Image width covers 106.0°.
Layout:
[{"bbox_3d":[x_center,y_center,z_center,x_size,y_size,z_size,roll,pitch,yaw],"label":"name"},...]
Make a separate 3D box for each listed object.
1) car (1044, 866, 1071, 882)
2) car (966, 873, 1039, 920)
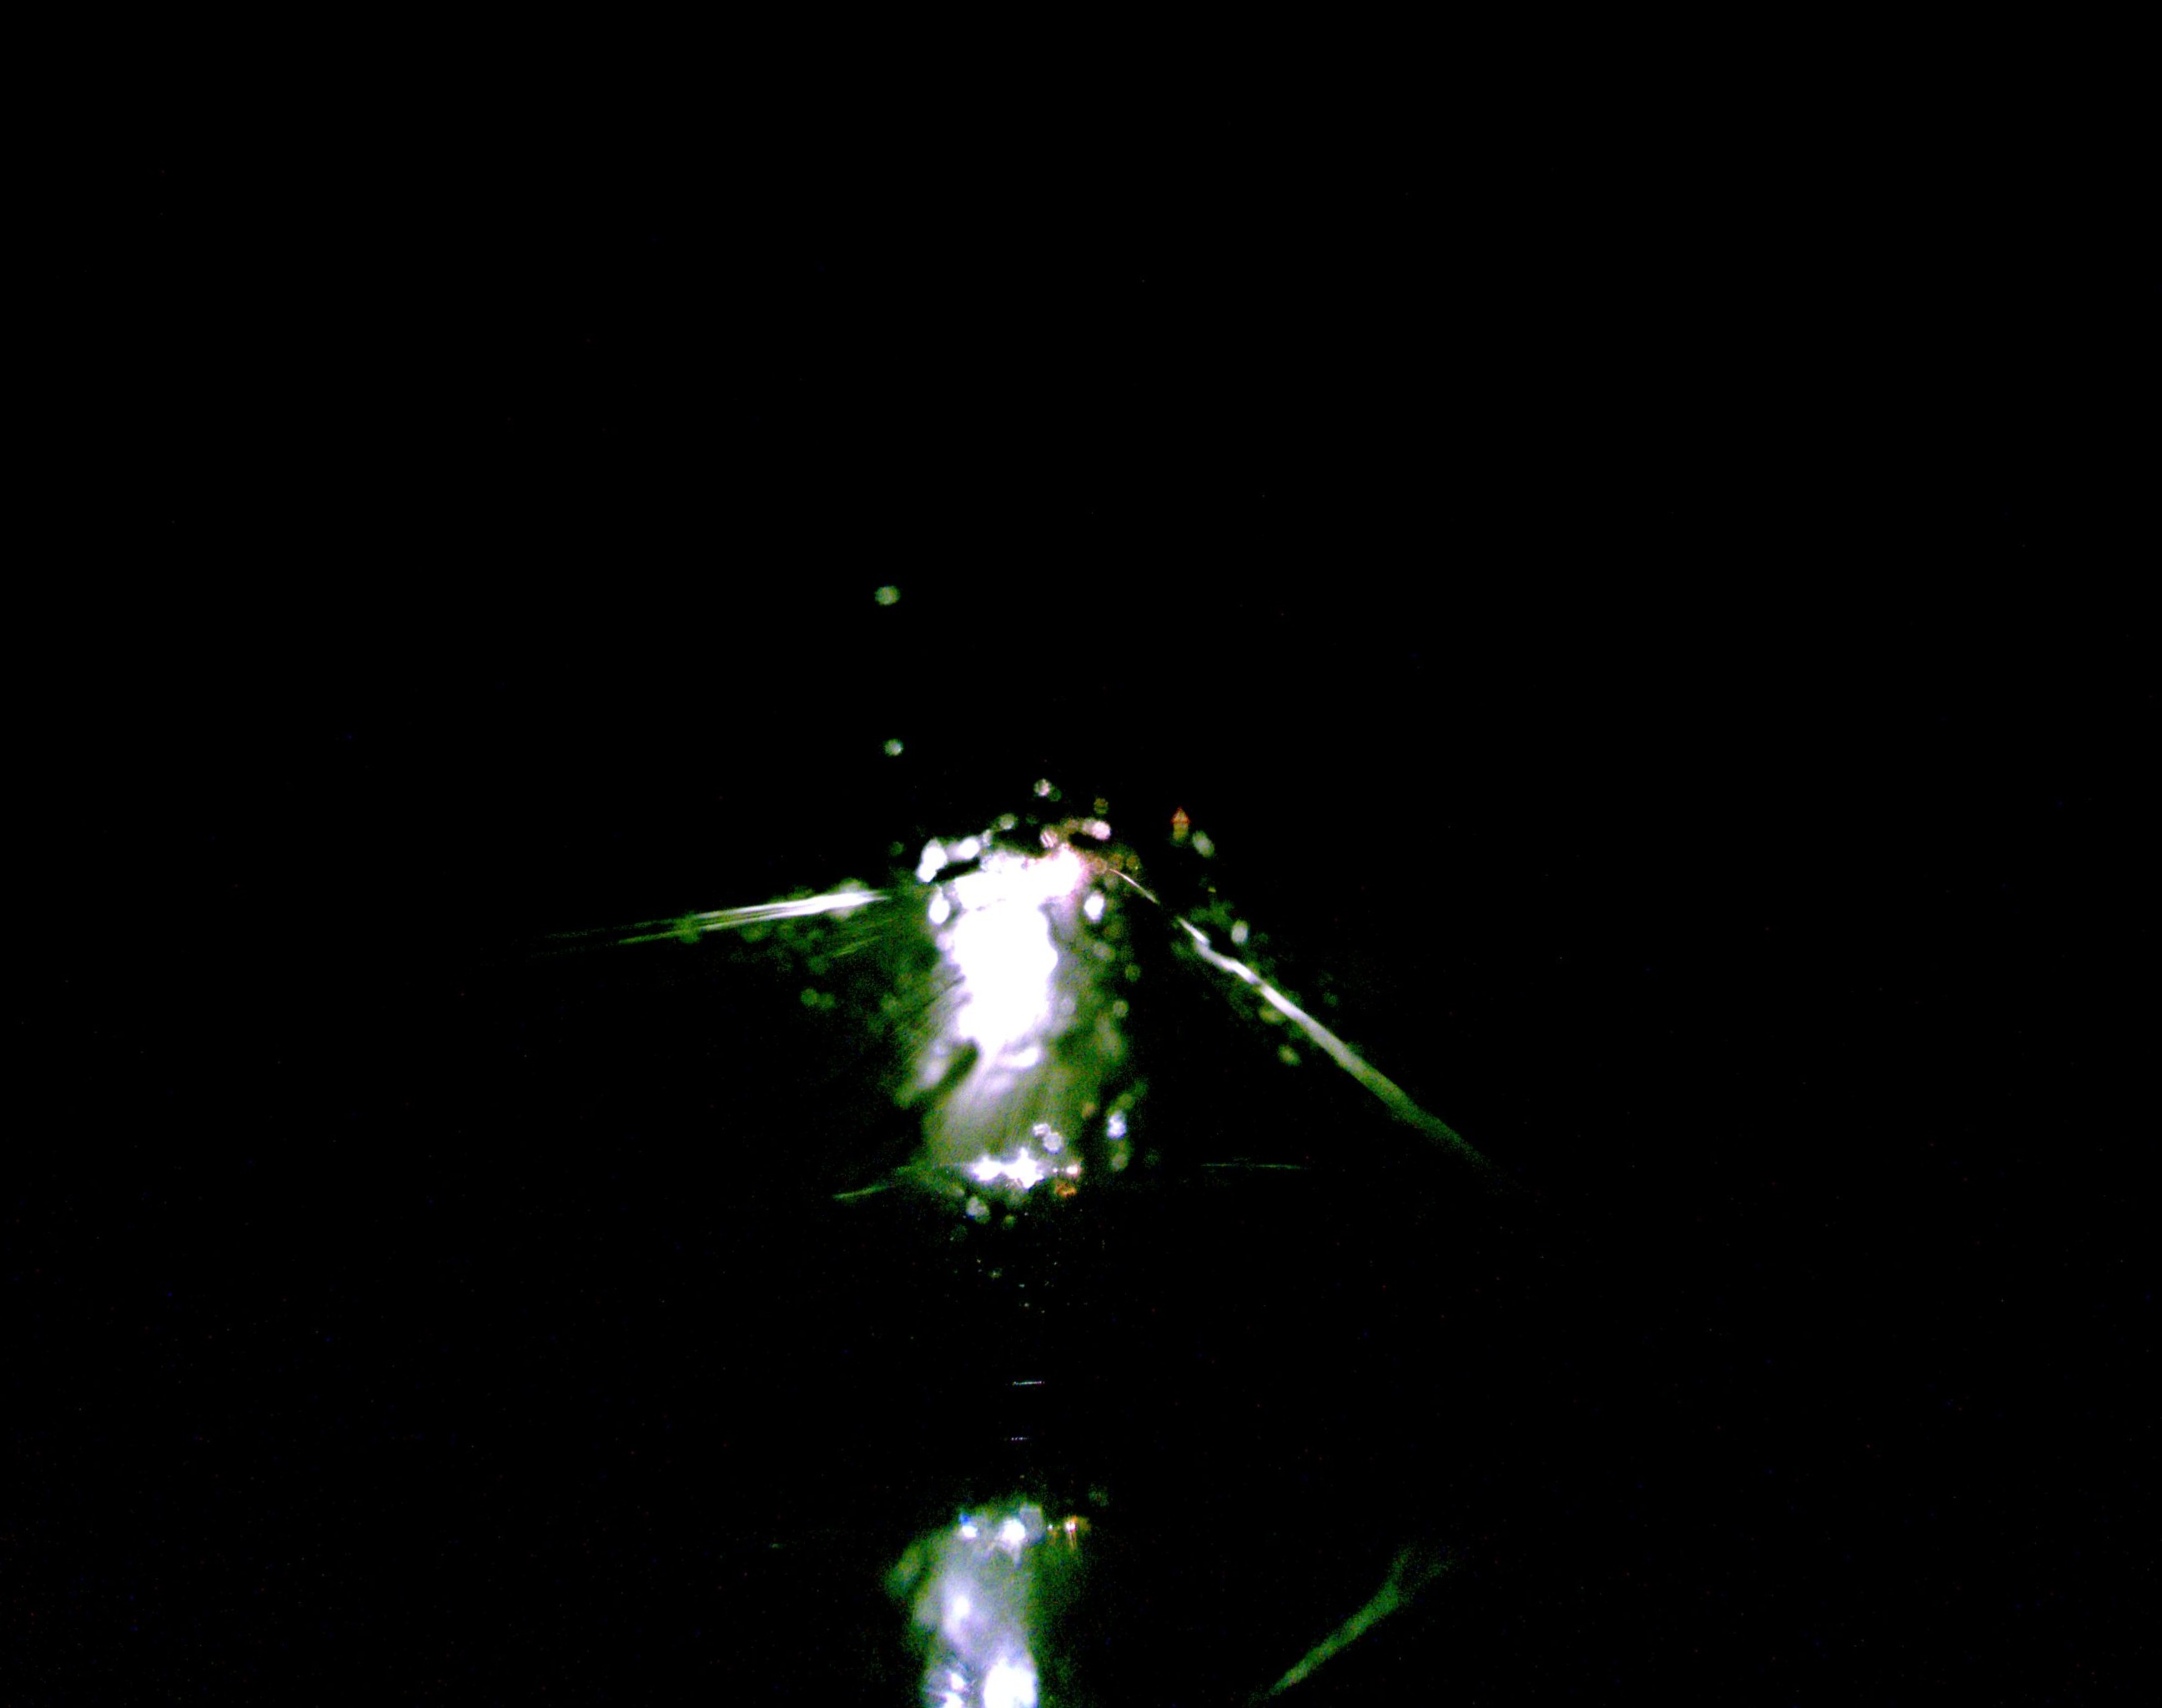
[{"bbox_3d":[-2.186,1.891,77.092,1.966,1.462,4.288,-1,-2,5],"label":"car"},{"bbox_3d":[-2.663,1.461,28.719,1.986,1.497,4.358,-1,-2,2],"label":"car"}]
